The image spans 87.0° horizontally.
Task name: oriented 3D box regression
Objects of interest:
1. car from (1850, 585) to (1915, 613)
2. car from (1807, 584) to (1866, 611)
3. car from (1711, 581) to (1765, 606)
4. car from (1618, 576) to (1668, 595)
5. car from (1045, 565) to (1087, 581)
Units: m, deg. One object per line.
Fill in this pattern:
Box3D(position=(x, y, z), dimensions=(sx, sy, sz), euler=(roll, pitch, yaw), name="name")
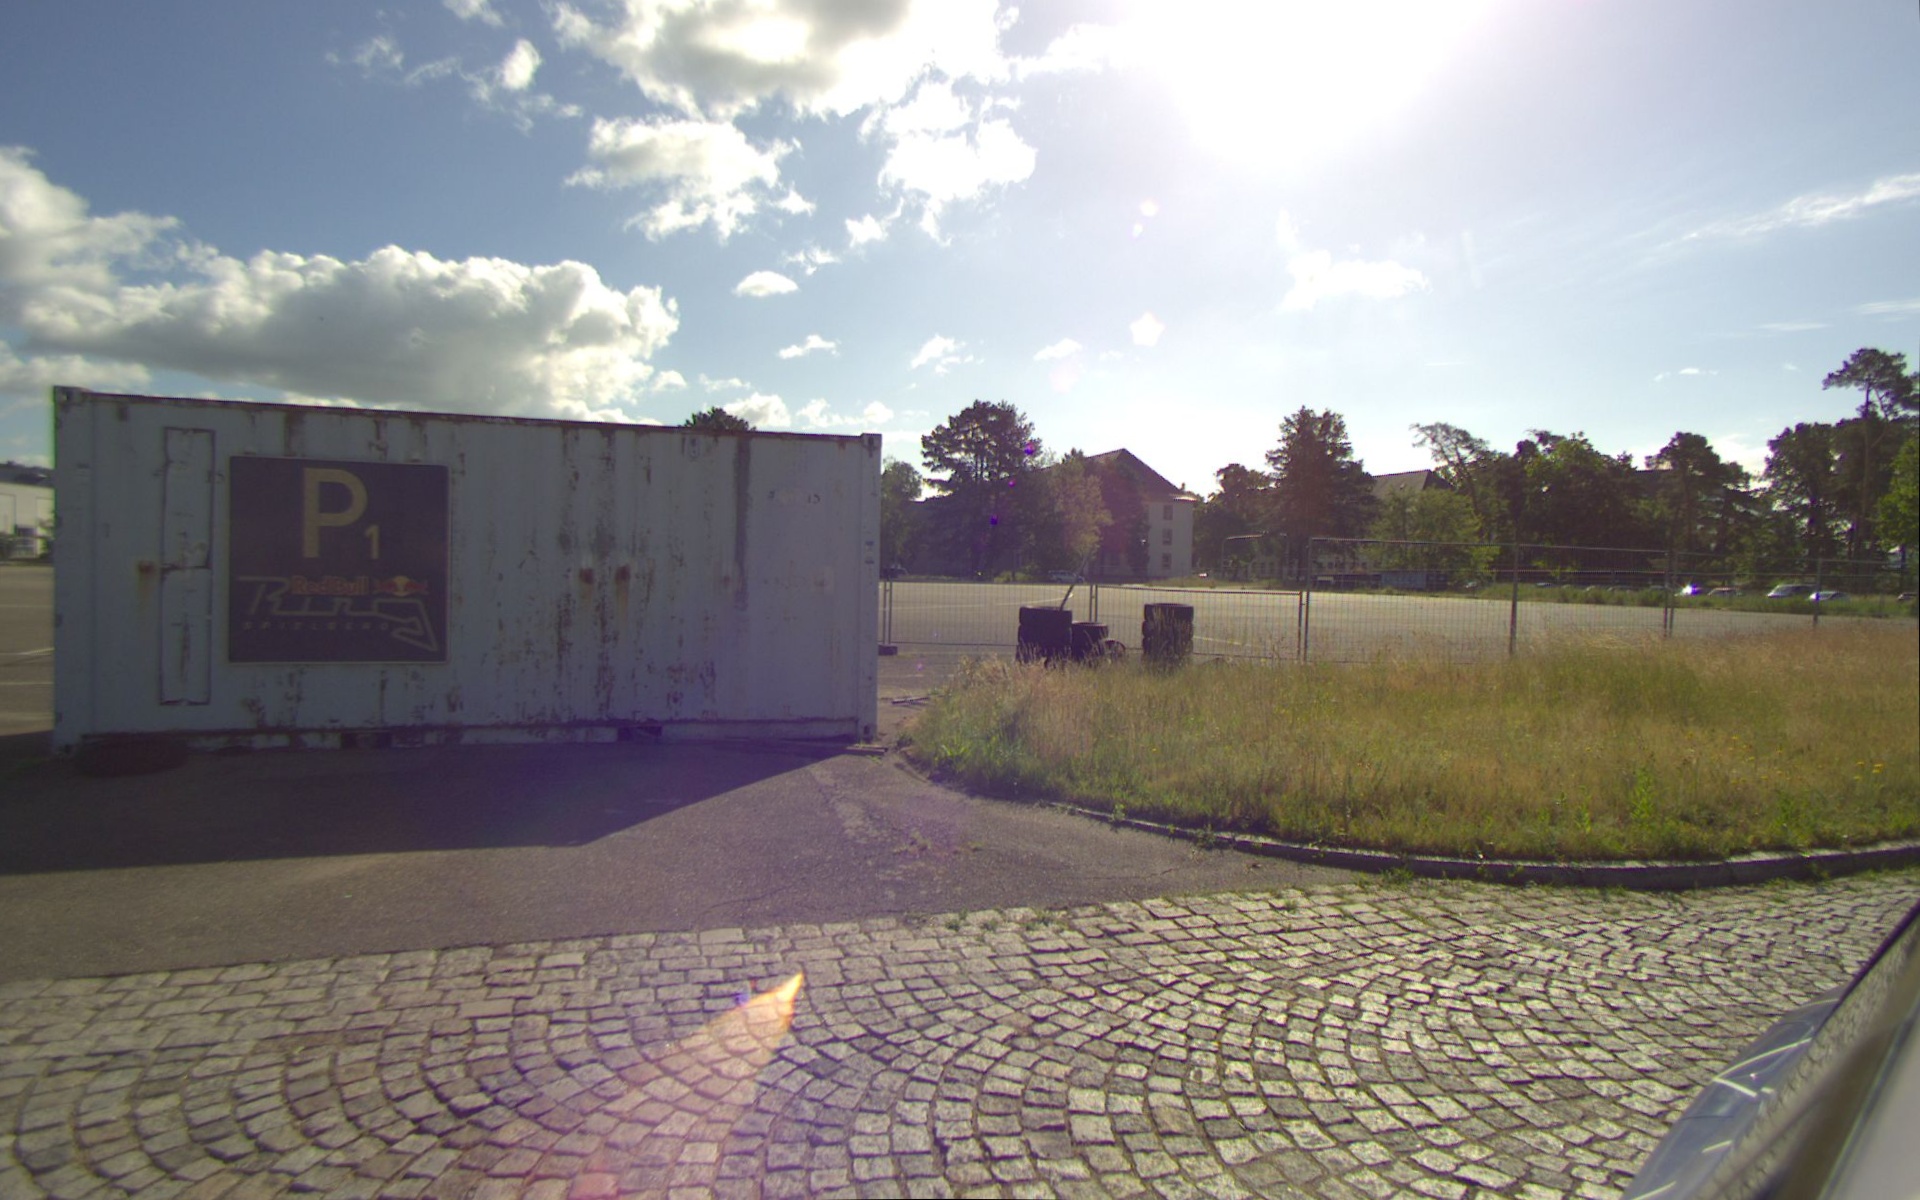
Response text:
Box3D(position=(71.001, -0.105, 77.880), dimensions=(3.915, 2.038, 2.005), euler=(1, 2, -19), name="car")
Box3D(position=(69.018, -0.208, 79.664), dimensions=(3.770, 2.038, 1.747), euler=(1, 2, -18), name="car")
Box3D(position=(67.041, -0.594, 87.207), dimensions=(3.770, 2.038, 1.747), euler=(1, 2, -15), name="car")
Box3D(position=(64.337, -1.362, 95.342), dimensions=(3.770, 1.679, 1.747), euler=(1, 2, -15), name="car")
Box3D(position=(11.239, -2.892, 107.542), dimensions=(3.916, 1.601, 2.005), euler=(0, 2, -21), name="car")
